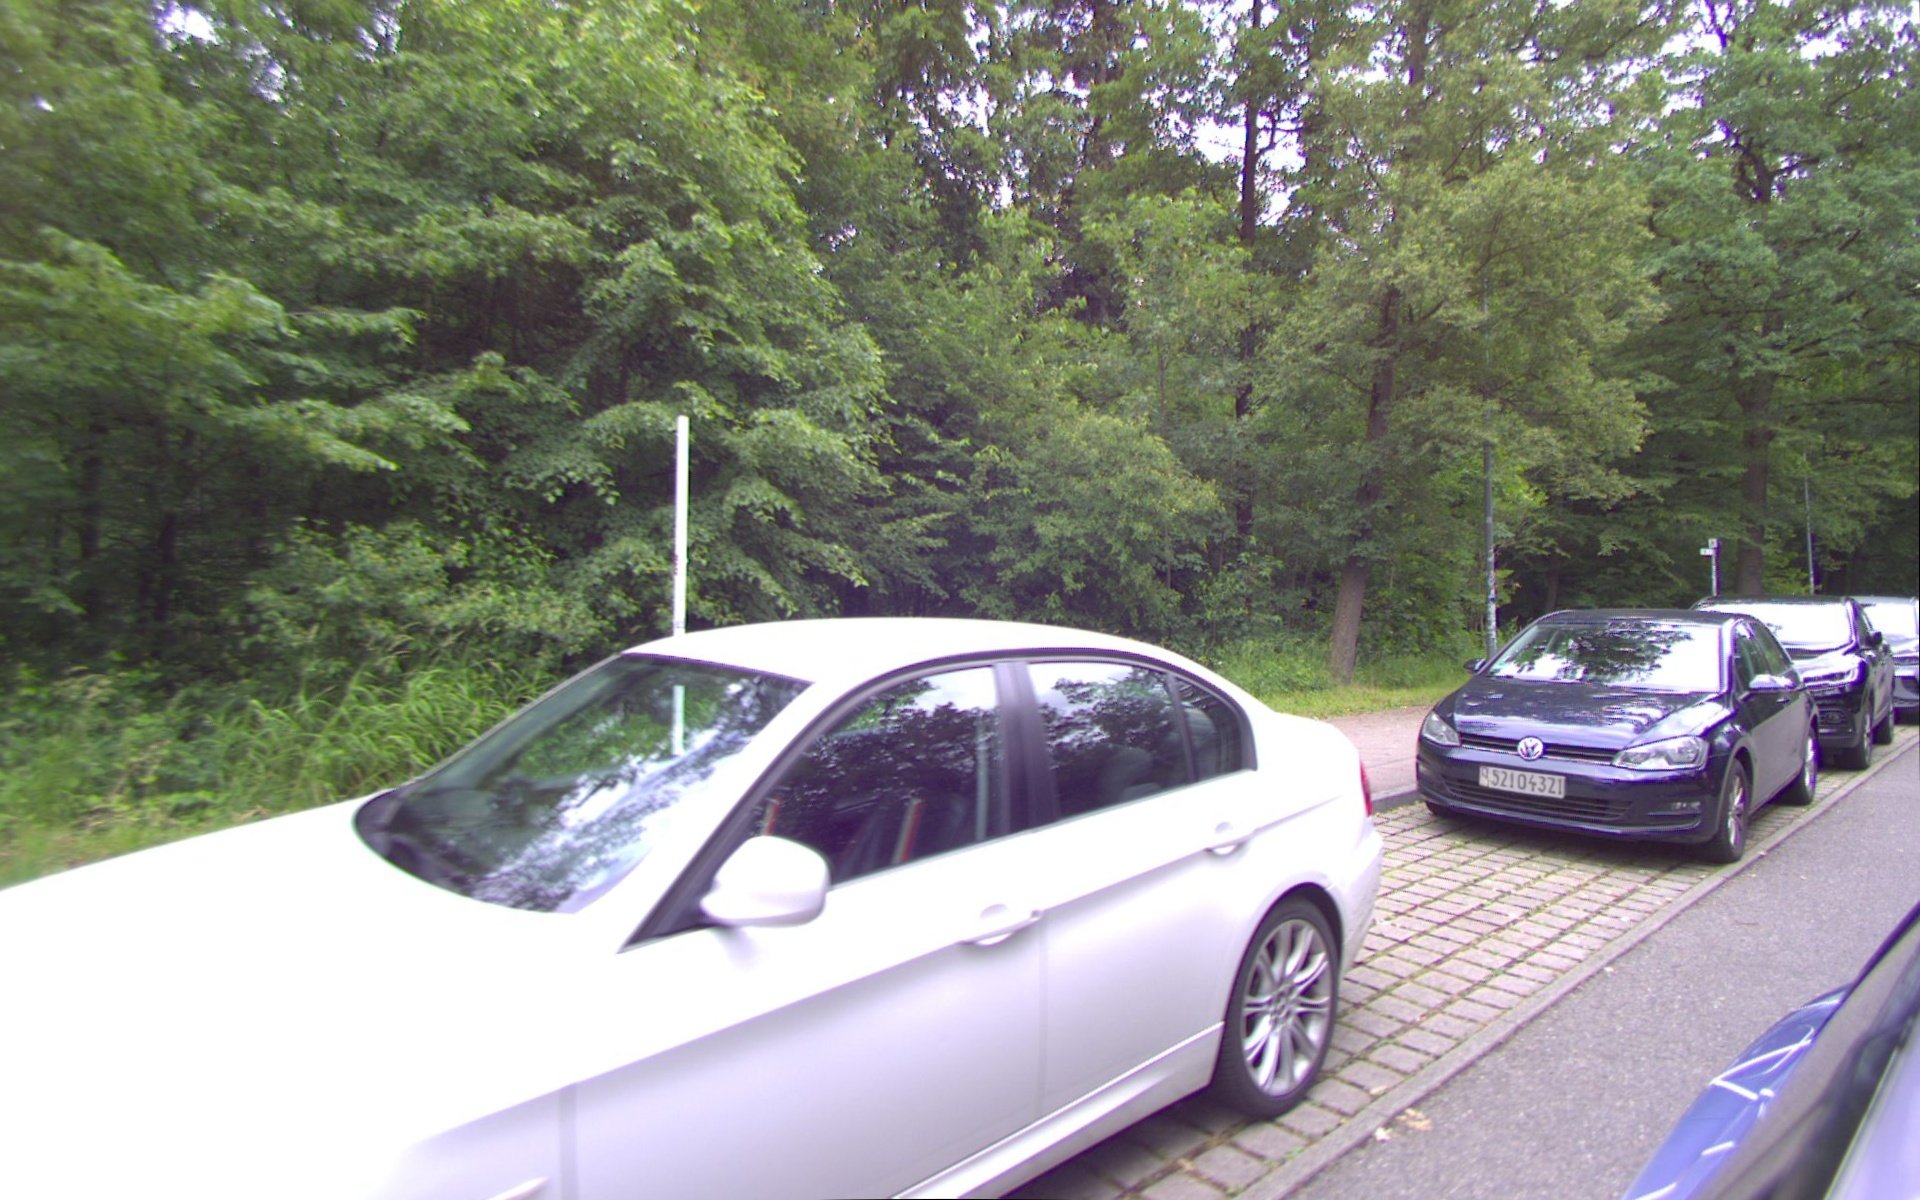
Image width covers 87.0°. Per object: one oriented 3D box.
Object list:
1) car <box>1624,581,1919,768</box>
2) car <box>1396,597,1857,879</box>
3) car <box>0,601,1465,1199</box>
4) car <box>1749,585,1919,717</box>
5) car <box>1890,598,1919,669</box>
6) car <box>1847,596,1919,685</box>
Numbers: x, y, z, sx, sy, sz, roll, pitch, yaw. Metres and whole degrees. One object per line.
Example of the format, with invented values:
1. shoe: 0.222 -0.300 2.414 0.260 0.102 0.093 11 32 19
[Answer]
1. car: 8.749 0.631 10.733 4.348 1.580 1.841 0 0 -42
2. car: 5.112 0.709 7.443 4.664 1.453 1.738 0 0 -42
3. car: -0.444 0.719 2.819 4.349 1.425 1.739 0 0 -40
4. car: 12.873 0.624 14.376 4.404 1.607 1.904 0 0 -42
5. car: 21.456 0.687 21.659 4.114 1.444 1.749 0 0 -40
6. car: 17.319 0.676 17.970 3.930 1.460 1.823 0 1 -41
